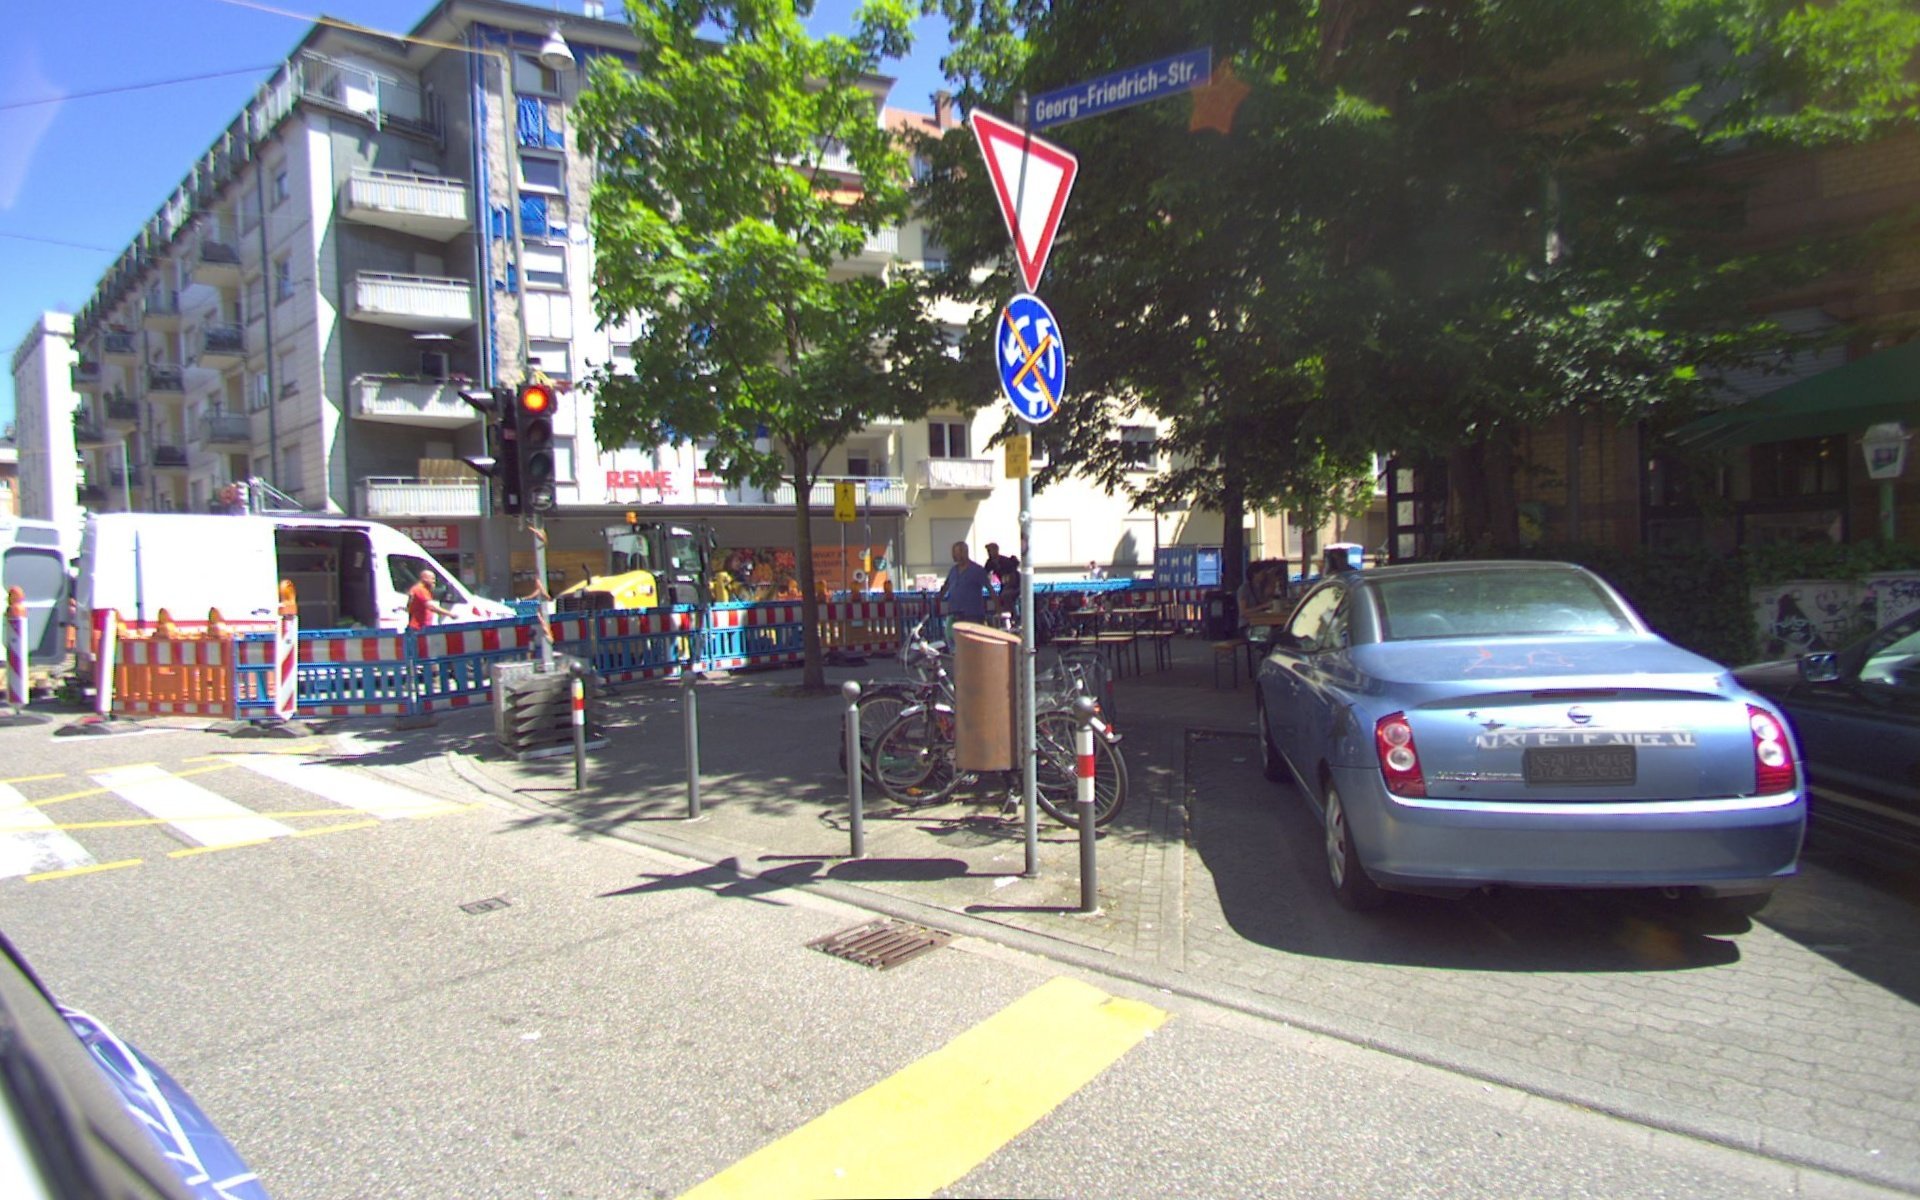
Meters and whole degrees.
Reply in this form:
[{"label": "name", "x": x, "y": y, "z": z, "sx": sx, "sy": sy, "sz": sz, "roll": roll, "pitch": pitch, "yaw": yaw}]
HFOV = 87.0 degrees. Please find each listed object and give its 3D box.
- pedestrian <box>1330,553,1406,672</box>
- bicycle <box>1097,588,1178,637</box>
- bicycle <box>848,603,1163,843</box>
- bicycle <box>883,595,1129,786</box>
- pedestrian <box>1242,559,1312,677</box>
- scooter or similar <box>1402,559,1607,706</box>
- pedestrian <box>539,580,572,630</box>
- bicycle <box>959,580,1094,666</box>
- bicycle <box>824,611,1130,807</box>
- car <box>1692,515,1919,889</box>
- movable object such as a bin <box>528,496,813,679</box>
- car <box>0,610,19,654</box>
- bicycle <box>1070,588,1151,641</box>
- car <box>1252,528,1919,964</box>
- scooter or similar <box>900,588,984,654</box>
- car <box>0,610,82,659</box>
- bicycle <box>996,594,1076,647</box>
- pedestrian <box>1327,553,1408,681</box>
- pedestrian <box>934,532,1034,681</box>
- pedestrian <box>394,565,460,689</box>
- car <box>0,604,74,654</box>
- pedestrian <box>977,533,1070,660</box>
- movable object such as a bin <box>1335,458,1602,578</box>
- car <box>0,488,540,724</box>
[{"label": "pedestrian", "x": 4.384, "y": 0.123, "z": 10.908, "sx": 0.591, "sy": 1.229, "sz": 0.557, "roll": -2, "pitch": 1, "yaw": 7}, {"label": "bicycle", "x": 3.620, "y": 0.237, "z": 20.798, "sx": 0.483, "sy": 0.942, "sz": 1.817, "roll": -3, "pitch": 2, "yaw": -34}, {"label": "bicycle", "x": 0.231, "y": 0.651, "z": 5.714, "sx": 1.677, "sy": 1.181, "sz": 0.488, "roll": -2, "pitch": 3, "yaw": 28}, {"label": "bicycle", "x": 0.281, "y": 0.588, "z": 6.805, "sx": 1.613, "sy": 1.165, "sz": 0.335, "roll": -2, "pitch": 3, "yaw": 28}, {"label": "pedestrian", "x": 3.435, "y": 0.188, "z": 10.993, "sx": 0.591, "sy": 1.229, "sz": 0.557, "roll": -2, "pitch": 1, "yaw": 7}, {"label": "scooter or similar", "x": 4.524, "y": 0.254, "z": 8.486, "sx": 0.274, "sy": 1.129, "sz": 1.472, "roll": -6, "pitch": 3, "yaw": -40}, {"label": "pedestrian", "x": -11.226, "y": 0.137, "z": 28.099, "sx": 0.657, "sy": 1.349, "sz": 0.519, "roll": -1, "pitch": 3, "yaw": 41}, {"label": "bicycle", "x": 1.035, "y": 0.311, "z": 15.196, "sx": 2.254, "sy": 1.094, "sz": 0.602, "roll": -5, "pitch": 3, "yaw": -44}, {"label": "bicycle", "x": 0.078, "y": 0.658, "z": 6.448, "sx": 1.890, "sy": 1.089, "sz": 0.488, "roll": -2, "pitch": 3, "yaw": 28}, {"label": "car", "x": 4.593, "y": 0.390, "z": 3.129, "sx": 1.947, "sy": 1.422, "sz": 3.995, "roll": -3, "pitch": 3, "yaw": 5}, {"label": "movable object such as a bin", "x": -4.738, "y": -0.217, "z": 17.282, "sx": 1.948, "sy": 2.679, "sz": 4.510, "roll": -2, "pitch": 0, "yaw": 31}, {"label": "car", "x": -42.920, "y": 1.448, "z": 44.404, "sx": 4.898, "sy": 1.842, "sz": 1.770, "roll": -2, "pitch": 2, "yaw": 41}, {"label": "bicycle", "x": 3.001, "y": 0.306, "z": 20.345, "sx": 0.483, "sy": 0.996, "sz": 1.817, "roll": -3, "pitch": 0, "yaw": -34}, {"label": "car", "x": 2.814, "y": 0.401, "z": 5.306, "sx": 1.978, "sy": 1.385, "sz": 3.988, "roll": -3, "pitch": 3, "yaw": 10}, {"label": "scooter or similar", "x": -0.334, "y": 0.379, "z": 17.740, "sx": 1.472, "sy": 1.114, "sz": 0.518, "roll": -3, "pitch": -1, "yaw": 42}, {"label": "car", "x": -32.969, "y": 1.205, "z": 36.238, "sx": 4.462, "sy": 1.536, "sz": 1.653, "roll": -2, "pitch": 3, "yaw": 42}, {"label": "bicycle", "x": 1.449, "y": 0.379, "z": 19.651, "sx": 0.483, "sy": 0.970, "sz": 1.817, "roll": -3, "pitch": 2, "yaw": -34}, {"label": "pedestrian", "x": 4.060, "y": 0.161, "z": 10.111, "sx": 0.591, "sy": 1.229, "sz": 0.557, "roll": -2, "pitch": 1, "yaw": 7}, {"label": "pedestrian", "x": 0.285, "y": 0.070, "z": 12.234, "sx": 0.929, "sy": 1.716, "sz": 0.631, "roll": -1, "pitch": 3, "yaw": 37}, {"label": "pedestrian", "x": -7.911, "y": 0.383, "z": 15.028, "sx": 0.769, "sy": 1.766, "sz": 0.519, "roll": -1, "pitch": 3, "yaw": 41}, {"label": "car", "x": -37.555, "y": 1.166, "z": 40.871, "sx": 4.693, "sy": 1.824, "sz": 1.772, "roll": -2, "pitch": 2, "yaw": 38}, {"label": "pedestrian", "x": 0.964, "y": -0.074, "z": 15.250, "sx": 0.993, "sy": 1.803, "sz": 0.866, "roll": -5, "pitch": 3, "yaw": -42}, {"label": "movable object such as a bin", "x": 15.353, "y": -2.449, "z": 30.718, "sx": 6.634, "sy": 3.236, "sz": 3.326, "roll": -3, "pitch": 2, "yaw": -16}, {"label": "car", "x": -10.051, "y": -0.039, "z": 15.088, "sx": 2.379, "sy": 2.772, "sz": 6.551, "roll": 0, "pitch": 2, "yaw": 42}]
